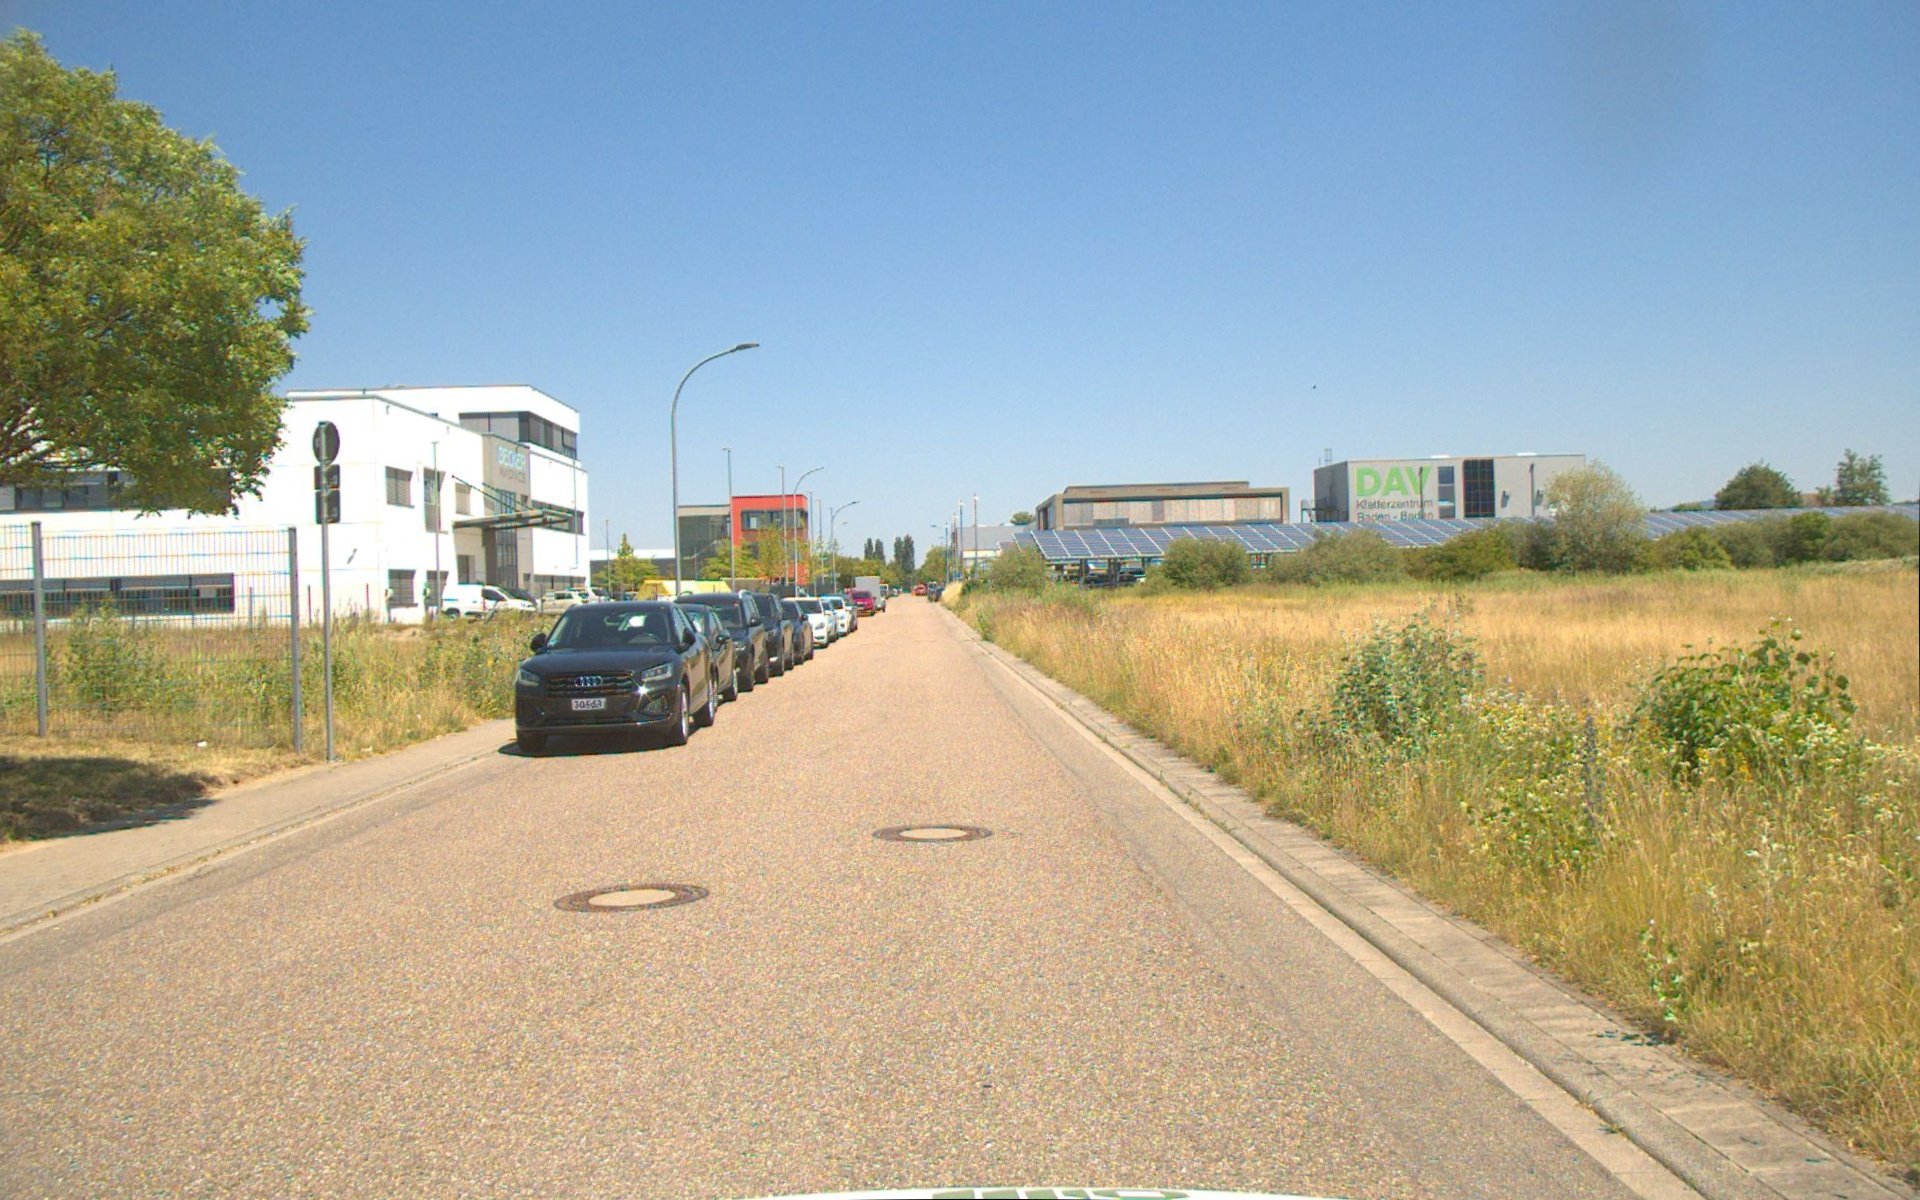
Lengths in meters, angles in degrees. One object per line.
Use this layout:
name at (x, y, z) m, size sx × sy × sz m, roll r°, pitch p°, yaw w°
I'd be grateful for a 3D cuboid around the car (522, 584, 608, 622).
car at (-22.947, 0.162, 96.125) m, size 4.437 × 1.977 × 2.031 m, roll -2°, pitch 0°, yaw -1°

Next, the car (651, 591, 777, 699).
car at (-4.250, 0.723, 29.122) m, size 1.643 × 1.692 × 4.235 m, roll -2°, pitch 0°, yaw -2°

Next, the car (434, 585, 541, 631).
car at (-22.389, 0.386, 78.498) m, size 4.437 × 1.977 × 2.031 m, roll -2°, pitch 0°, yaw -1°

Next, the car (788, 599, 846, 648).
car at (-4.988, 0.806, 58.092) m, size 1.751 × 1.547 × 3.981 m, roll -2°, pitch 0°, yaw -2°

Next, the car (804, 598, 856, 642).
car at (-4.975, 0.756, 63.617) m, size 1.751 × 1.547 × 3.981 m, roll -2°, pitch 0°, yaw -2°

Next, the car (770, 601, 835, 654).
car at (-4.930, 0.833, 52.184) m, size 1.751 × 1.547 × 3.981 m, roll -2°, pitch 0°, yaw -2°

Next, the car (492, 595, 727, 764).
car at (-3.806, 0.787, 18.664) m, size 1.888 × 1.594 × 4.187 m, roll -2°, pitch 0°, yaw -3°

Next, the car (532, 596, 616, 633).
car at (-22.970, 0.851, 98.588) m, size 4.437 × 1.977 × 2.031 m, roll -2°, pitch 0°, yaw -1°

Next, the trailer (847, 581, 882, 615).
trailer at (-6.450, -0.162, 112.484) m, size 2.156 × 2.175 × 4.284 m, roll -2°, pitch 0°, yaw -2°

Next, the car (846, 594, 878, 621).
car at (-5.961, 0.440, 100.916) m, size 1.751 × 1.547 × 3.981 m, roll -2°, pitch 0°, yaw -2°

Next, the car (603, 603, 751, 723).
car at (-4.067, 0.853, 24.241) m, size 1.558 × 1.518 × 3.831 m, roll -2°, pitch 0°, yaw -2°

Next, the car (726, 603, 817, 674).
car at (-4.521, 0.886, 40.379) m, size 1.733 × 1.511 × 5.013 m, roll -2°, pitch 0°, yaw -2°

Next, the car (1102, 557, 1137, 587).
car at (11.622, -2.002, 120.531) m, size 1.953 × 2.049 × 3.998 m, roll -2°, pitch 0°, yaw -2°

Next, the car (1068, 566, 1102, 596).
car at (9.073, -1.372, 120.437) m, size 1.953 × 2.049 × 3.998 m, roll -2°, pitch 0°, yaw -2°

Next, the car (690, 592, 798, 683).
car at (-4.441, 0.719, 34.611) m, size 1.733 × 1.692 × 4.550 m, roll -2°, pitch 0°, yaw -2°
